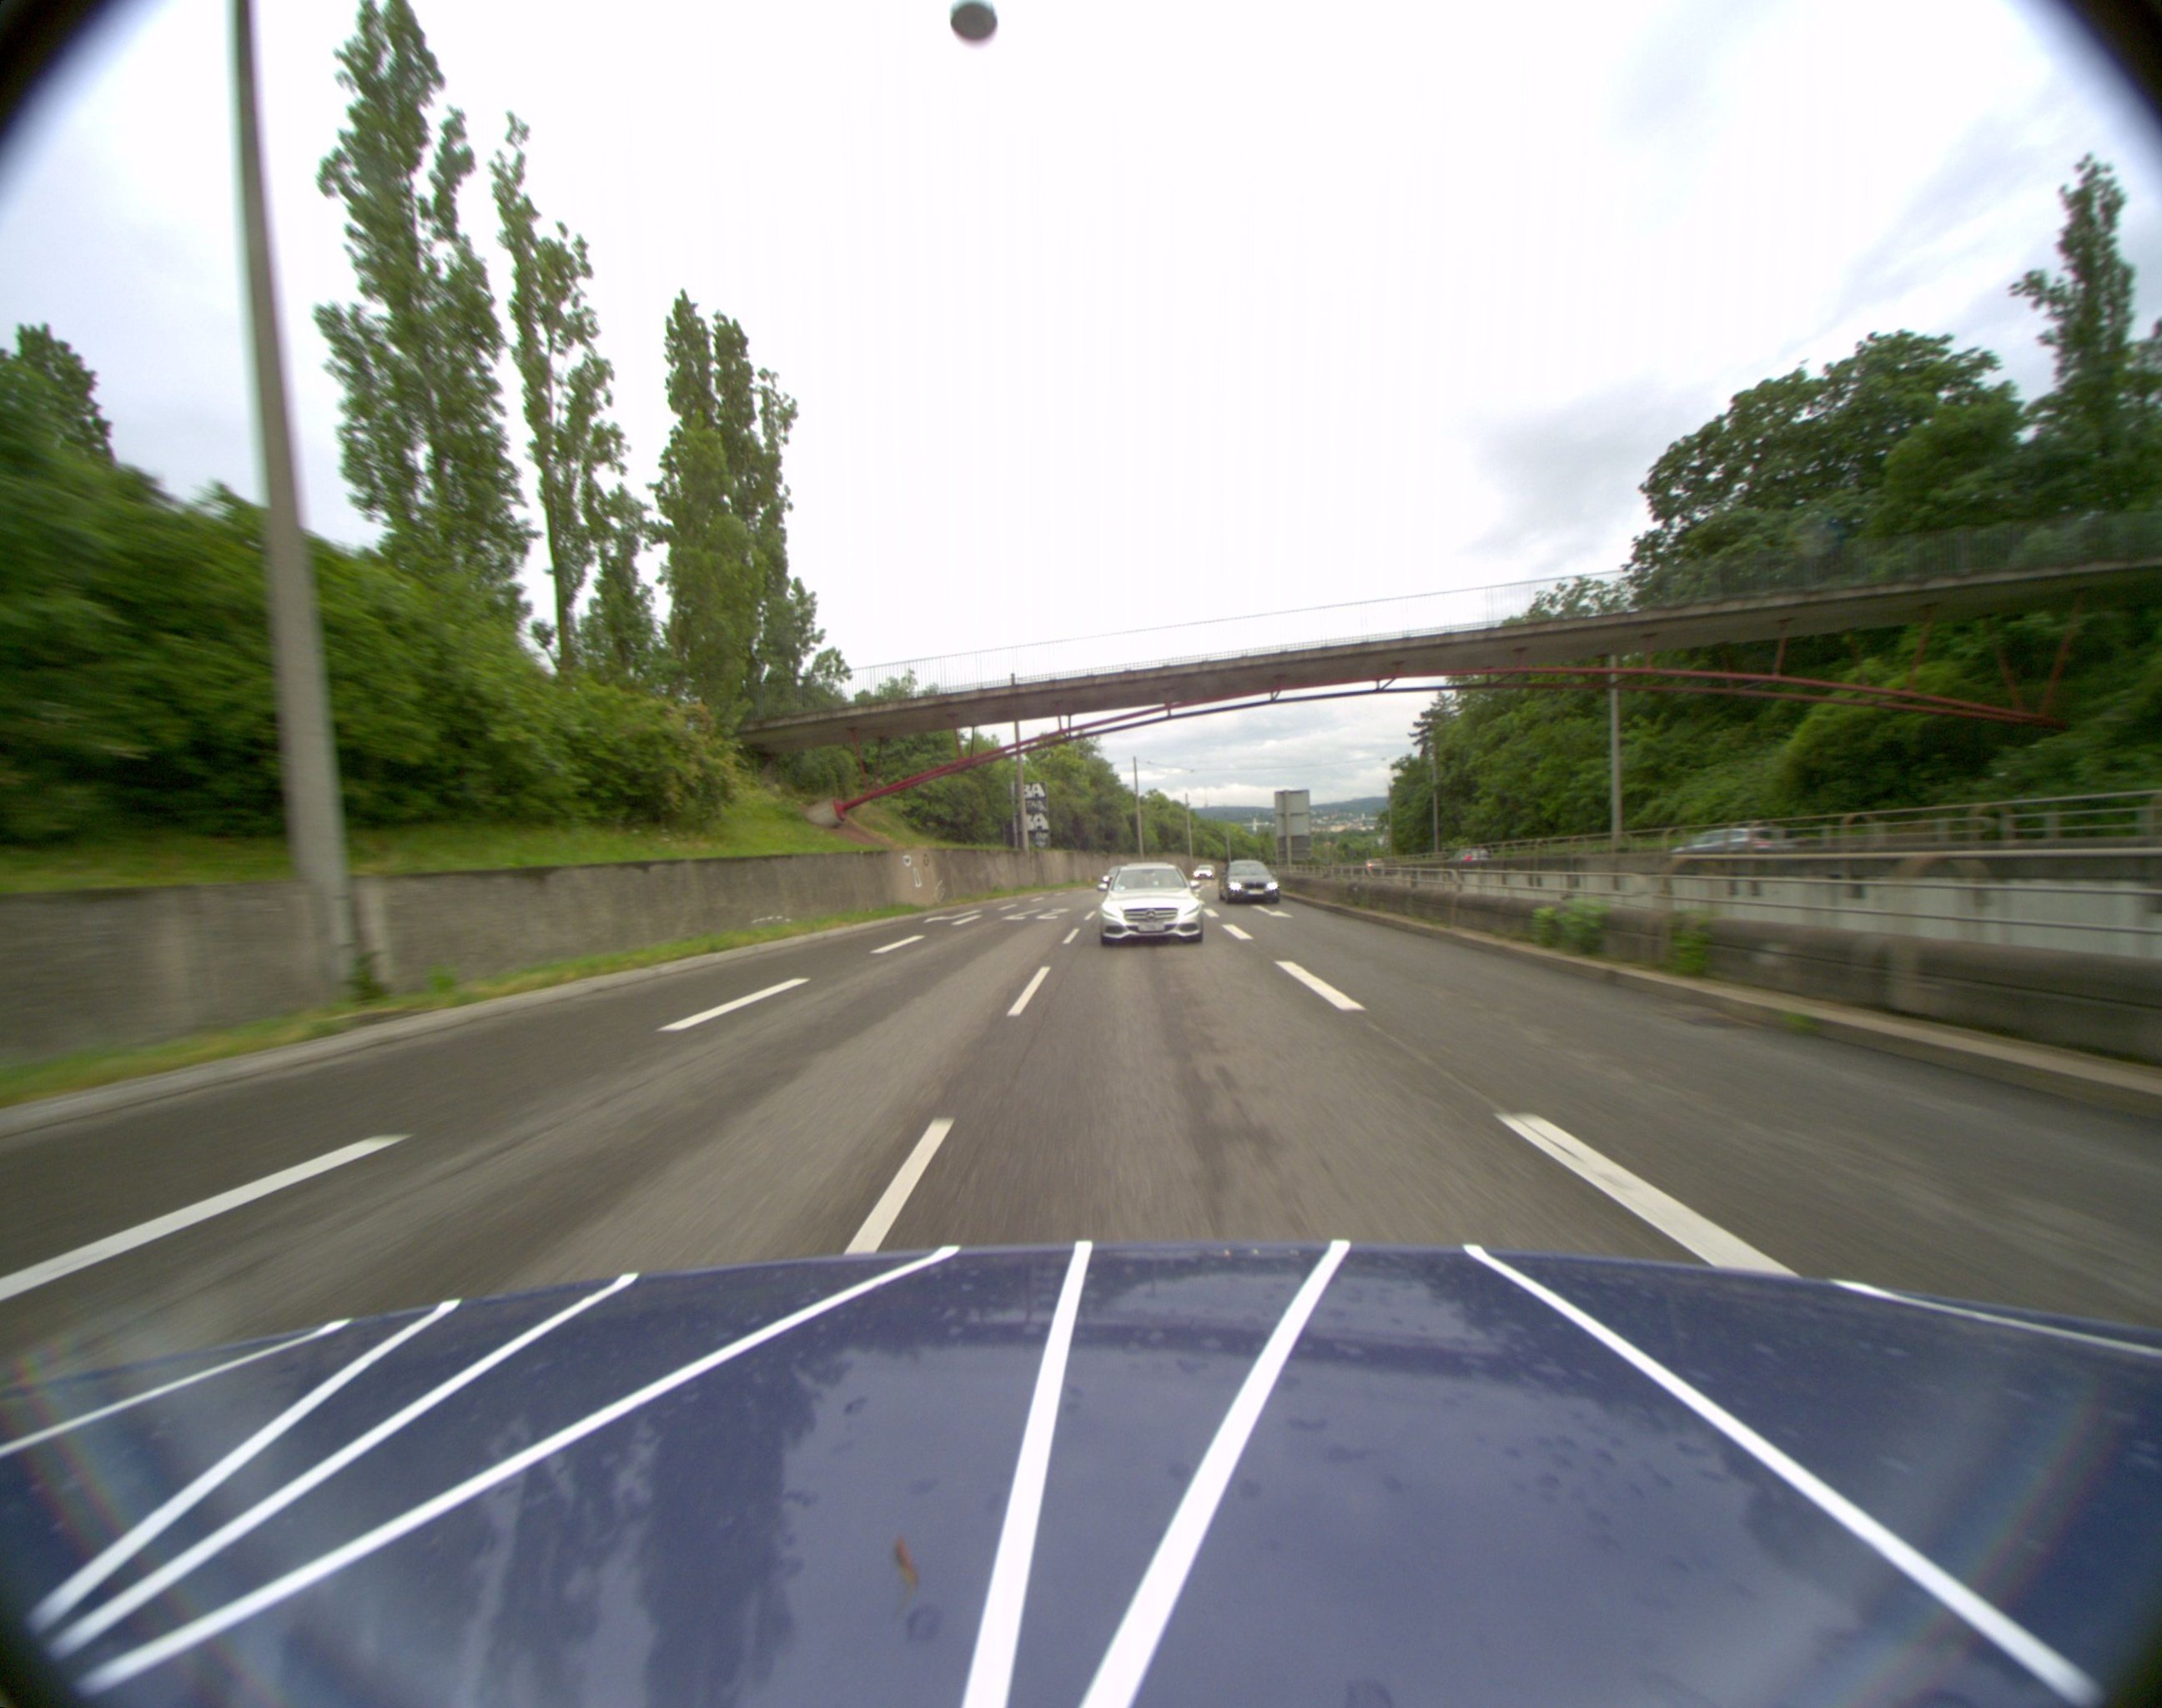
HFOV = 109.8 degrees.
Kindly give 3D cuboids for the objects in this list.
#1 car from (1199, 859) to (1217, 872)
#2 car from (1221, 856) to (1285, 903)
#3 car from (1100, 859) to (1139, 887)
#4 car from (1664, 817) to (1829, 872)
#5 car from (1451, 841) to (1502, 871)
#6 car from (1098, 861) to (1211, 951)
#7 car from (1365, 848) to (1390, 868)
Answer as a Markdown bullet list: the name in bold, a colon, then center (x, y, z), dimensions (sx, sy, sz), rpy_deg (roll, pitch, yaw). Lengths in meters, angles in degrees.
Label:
- **car**: center (15.978, 1.431, 95.396), dimensions (1.808, 1.501, 4.004), rpy_deg (-3, 0, 14)
- **car**: center (5.922, 0.835, 26.508), dimensions (1.729, 1.462, 3.890), rpy_deg (-2, -1, 6)
- **car**: center (2.422, 1.149, 47.201), dimensions (1.808, 1.501, 4.003), rpy_deg (-3, 0, 11)
- **car**: center (22.792, -0.304, 26.319), dimensions (1.997, 1.711, 4.707), rpy_deg (0, 0, 7)
- **car**: center (26.369, 0.126, 50.863), dimensions (1.674, 1.904, 4.562), rpy_deg (-1, 0, 9)
- **car**: center (1.398, 0.903, 14.930), dimensions (1.861, 1.395, 4.316), rpy_deg (-2, 0, 4)
- **car**: center (27.144, 0.392, 69.605), dimensions (1.673, 1.819, 4.005), rpy_deg (0, -1, 14)
